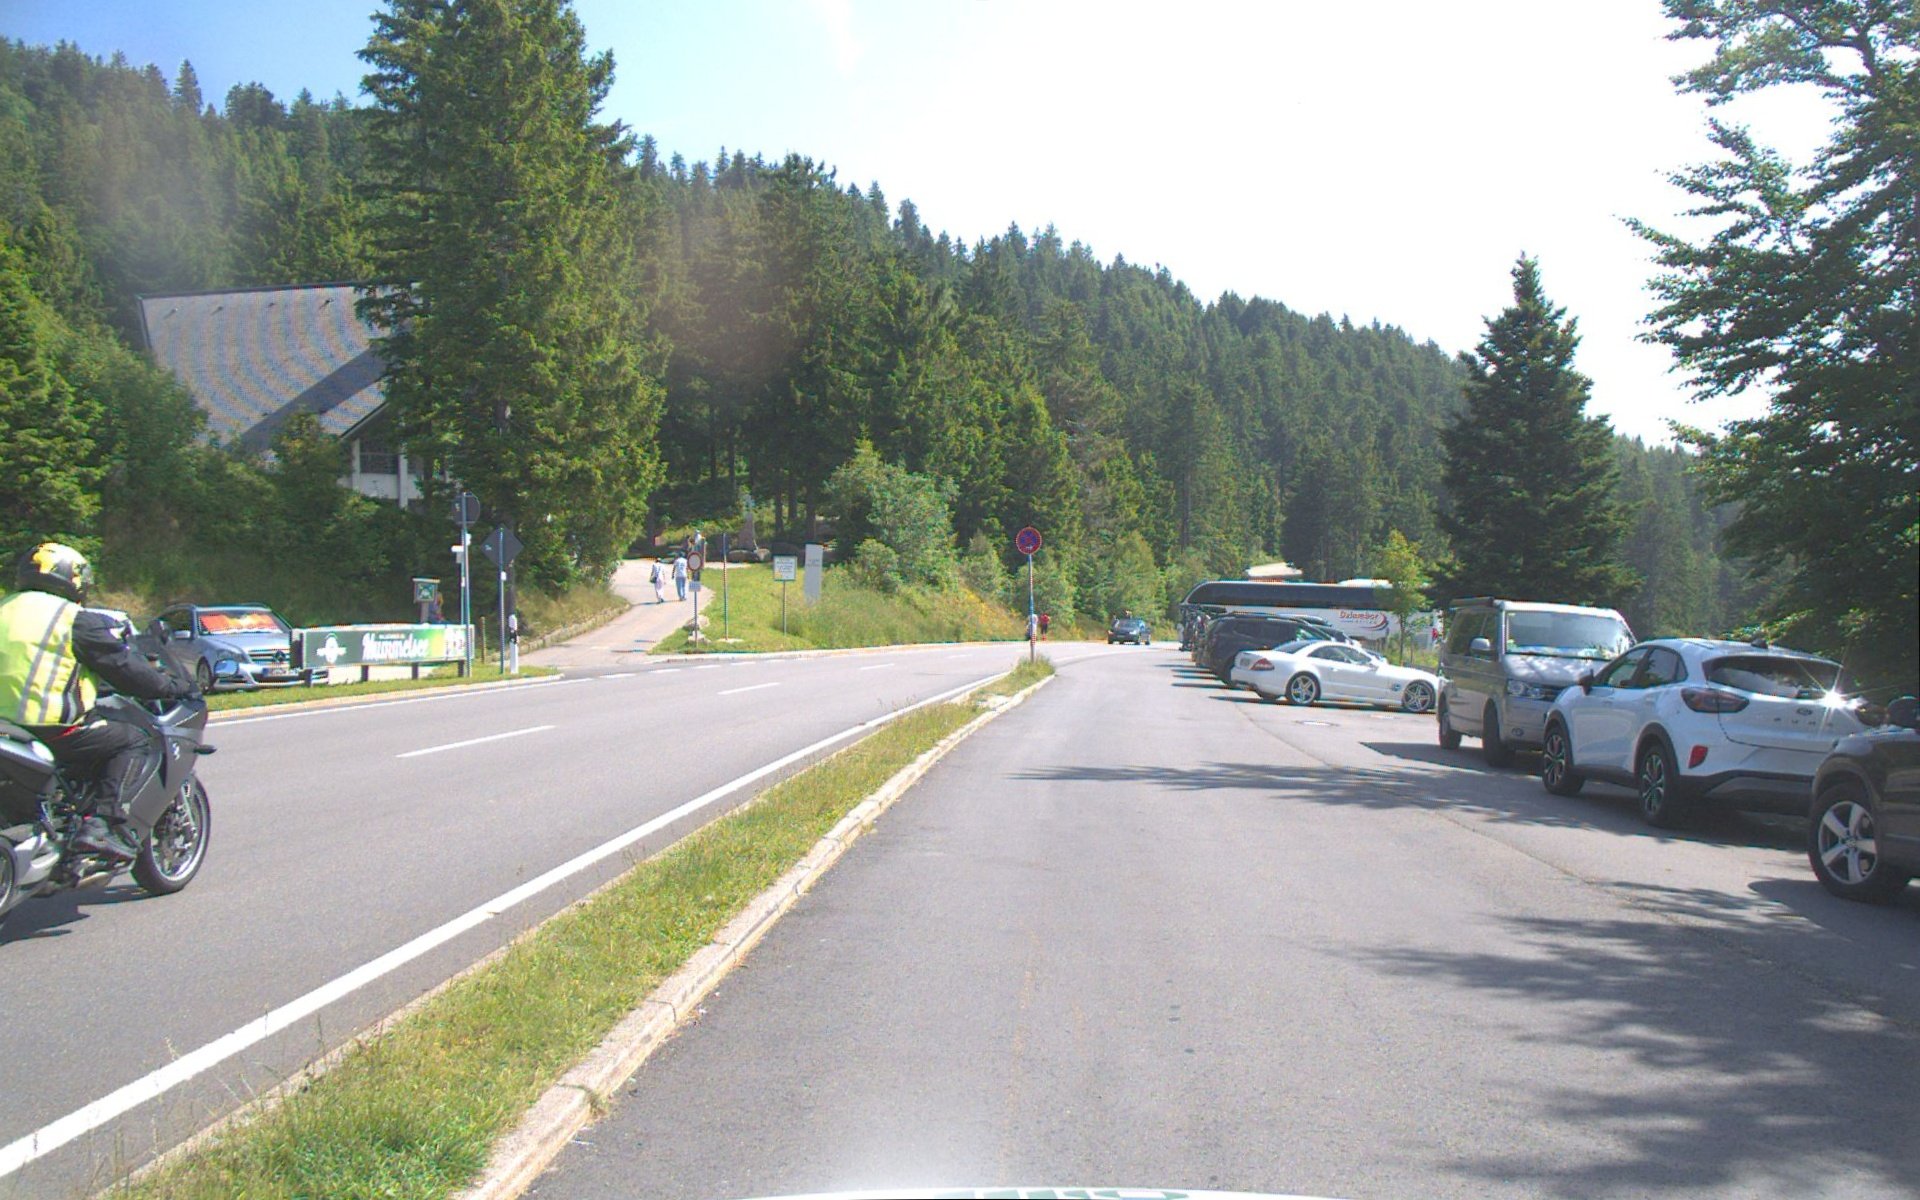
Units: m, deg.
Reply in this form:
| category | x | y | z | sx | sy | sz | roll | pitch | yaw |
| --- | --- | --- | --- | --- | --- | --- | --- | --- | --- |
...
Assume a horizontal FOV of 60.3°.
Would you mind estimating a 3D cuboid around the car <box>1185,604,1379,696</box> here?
| category | x | y | z | sx | sy | sz | roll | pitch | yaw |
| --- | --- | --- | --- | --- | --- | --- | --- | --- | --- |
| car | 7.341 | 1.121 | 37.999 | 3.908 | 1.728 | 1.999 | 4 | 1 | -3 |

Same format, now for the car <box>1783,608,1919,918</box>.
| category | x | y | z | sx | sy | sz | roll | pitch | yaw |
| --- | --- | --- | --- | --- | --- | --- | --- | --- | --- |
| car | 6.000 | 0.926 | 8.329 | 1.707 | 1.660 | 4.311 | 4 | 0 | 4 |

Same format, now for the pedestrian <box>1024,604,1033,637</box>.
| category | x | y | z | sx | sy | sz | roll | pitch | yaw |
| --- | --- | --- | --- | --- | --- | --- | --- | --- | --- |
| pedestrian | 3.691 | 1.101 | 89.135 | 0.406 | 1.777 | 0.457 | -1 | 1 | 4 |

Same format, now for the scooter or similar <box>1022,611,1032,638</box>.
| category | x | y | z | sx | sy | sz | roll | pitch | yaw |
| --- | --- | --- | --- | --- | --- | --- | --- | --- | --- |
| scooter or similar | 3.581 | 1.304 | 88.520 | 0.472 | 1.404 | 0.818 | -1 | 1 | 4 |

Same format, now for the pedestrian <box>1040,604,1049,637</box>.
| category | x | y | z | sx | sy | sz | roll | pitch | yaw |
| --- | --- | --- | --- | --- | --- | --- | --- | --- | --- |
| pedestrian | 4.524 | 1.092 | 88.562 | 0.386 | 1.777 | 0.406 | -1 | 1 | 4 |

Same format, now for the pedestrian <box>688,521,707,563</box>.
| category | x | y | z | sx | sy | sz | roll | pitch | yaw |
| --- | --- | --- | --- | --- | --- | --- | --- | --- | --- |
| pedestrian | -13.033 | -2.853 | 82.104 | 0.799 | 2.048 | 0.853 | -2 | 1 | -4 |

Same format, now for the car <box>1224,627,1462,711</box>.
| category | x | y | z | sx | sy | sz | roll | pitch | yaw |
| --- | --- | --- | --- | --- | --- | --- | --- | --- | --- |
| car | 7.712 | 1.382 | 33.421 | 4.375 | 1.321 | 1.578 | 4 | 0 | -12 |

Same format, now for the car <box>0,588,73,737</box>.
| category | x | y | z | sx | sy | sz | roll | pitch | yaw |
| --- | --- | --- | --- | --- | --- | --- | --- | --- | --- |
| car | -12.251 | 0.718 | 19.772 | 4.139 | 1.662 | 1.777 | -1 | -1 | 44 |

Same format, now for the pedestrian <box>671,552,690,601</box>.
| category | x | y | z | sx | sy | sz | roll | pitch | yaw |
| --- | --- | --- | --- | --- | --- | --- | --- | --- | --- |
| pedestrian | -10.540 | -0.878 | 62.383 | 0.639 | 1.831 | 0.643 | -1 | -1 | -2 |

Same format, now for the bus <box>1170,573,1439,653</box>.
| category | x | y | z | sx | sy | sz | roll | pitch | yaw |
| --- | --- | --- | --- | --- | --- | --- | --- | --- | --- |
| bus | 16.782 | 0.566 | 81.033 | 12.596 | 3.640 | 2.982 | 1 | 2 | 21 |

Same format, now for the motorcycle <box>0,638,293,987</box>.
| category | x | y | z | sx | sy | sz | roll | pitch | yaw |
| --- | --- | --- | --- | --- | --- | --- | --- | --- | --- |
| motorcycle | -3.794 | 0.798 | 7.053 | 0.804 | 1.197 | 2.288 | 1 | 0 | 5 |

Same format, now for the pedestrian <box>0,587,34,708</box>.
| category | x | y | z | sx | sy | sz | roll | pitch | yaw |
| --- | --- | --- | --- | --- | --- | --- | --- | --- | --- |
| pedestrian | -14.505 | 0.704 | 24.550 | 0.877 | 1.764 | 0.961 | -1 | 1 | 4 |

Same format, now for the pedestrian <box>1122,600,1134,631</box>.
| category | x | y | z | sx | sy | sz | roll | pitch | yaw |
| --- | --- | --- | --- | --- | --- | --- | --- | --- | --- |
| pedestrian | 11.140 | 1.046 | 109.596 | 0.717 | 2.049 | 0.862 | -1 | -2 | 4 |

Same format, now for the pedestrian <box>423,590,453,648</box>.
| category | x | y | z | sx | sy | sz | roll | pitch | yaw |
| --- | --- | --- | --- | --- | --- | --- | --- | --- | --- |
| pedestrian | -14.290 | 0.509 | 45.270 | 0.565 | 1.559 | 0.553 | -1 | 1 | 4 |

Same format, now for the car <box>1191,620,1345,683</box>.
| category | x | y | z | sx | sy | sz | roll | pitch | yaw |
| --- | --- | --- | --- | --- | --- | --- | --- | --- | --- |
| car | 7.675 | 1.270 | 41.445 | 3.560 | 1.326 | 1.642 | 2 | 2 | 3 |

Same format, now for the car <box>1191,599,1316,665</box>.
| category | x | y | z | sx | sy | sz | roll | pitch | yaw |
| --- | --- | --- | --- | --- | --- | --- | --- | --- | --- |
| car | 9.723 | 1.048 | 55.014 | 3.903 | 1.845 | 1.941 | 4 | 2 | 7 |

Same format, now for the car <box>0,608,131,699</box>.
| category | x | y | z | sx | sy | sz | roll | pitch | yaw |
| --- | --- | --- | --- | --- | --- | --- | --- | --- | --- |
| car | -17.788 | 1.000 | 30.705 | 1.656 | 1.520 | 3.973 | 2 | 3 | 44 |

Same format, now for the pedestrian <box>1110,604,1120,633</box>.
| category | x | y | z | sx | sy | sz | roll | pitch | yaw |
| --- | --- | --- | --- | --- | --- | --- | --- | --- | --- |
| pedestrian | 10.379 | 1.241 | 110.872 | 0.609 | 1.933 | 0.655 | -1 | -2 | 4 |

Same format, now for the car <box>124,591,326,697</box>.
| category | x | y | z | sx | sy | sz | roll | pitch | yaw |
| --- | --- | --- | --- | --- | --- | --- | --- | --- | --- |
| car | -11.481 | 0.651 | 25.718 | 1.729 | 1.466 | 3.909 | -3 | 1 | -42 |

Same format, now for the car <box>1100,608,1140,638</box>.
| category | x | y | z | sx | sy | sz | roll | pitch | yaw |
| --- | --- | --- | --- | --- | --- | --- | --- | --- | --- |
| car | 9.461 | 1.360 | 97.662 | 1.951 | 1.691 | 4.004 | 0 | 0 | 11 |

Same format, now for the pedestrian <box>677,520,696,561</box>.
| category | x | y | z | sx | sy | sz | roll | pitch | yaw |
| --- | --- | --- | --- | --- | --- | --- | --- | --- | --- |
| pedestrian | -13.752 | -2.995 | 83.139 | 0.781 | 2.048 | 0.939 | -2 | 1 | -4 |

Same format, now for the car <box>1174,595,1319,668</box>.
| category | x | y | z | sx | sy | sz | roll | pitch | yaw |
| --- | --- | --- | --- | --- | --- | --- | --- | --- | --- |
| car | 8.272 | 0.888 | 47.977 | 3.904 | 1.749 | 1.869 | 4 | 2 | 4 |

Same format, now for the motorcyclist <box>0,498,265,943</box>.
| category | x | y | z | sx | sy | sz | roll | pitch | yaw |
| --- | --- | --- | --- | --- | --- | --- | --- | --- | --- |
| motorcyclist | -3.778 | 0.456 | 7.041 | 1.004 | 1.704 | 1.294 | 1 | 0 | 5 |

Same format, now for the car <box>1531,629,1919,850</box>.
| category | x | y | z | sx | sy | sz | roll | pitch | yaw |
| --- | --- | --- | --- | --- | --- | --- | --- | --- | --- |
| car | 6.512 | 1.091 | 14.569 | 1.644 | 1.544 | 4.051 | 4 | -1 | 3 |

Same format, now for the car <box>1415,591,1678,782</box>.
| category | x | y | z | sx | sy | sz | roll | pitch | yaw |
| --- | --- | --- | --- | --- | --- | --- | --- | --- | --- |
| car | 7.239 | 0.973 | 20.971 | 1.865 | 2.006 | 4.822 | 4 | 0 | 5 |
